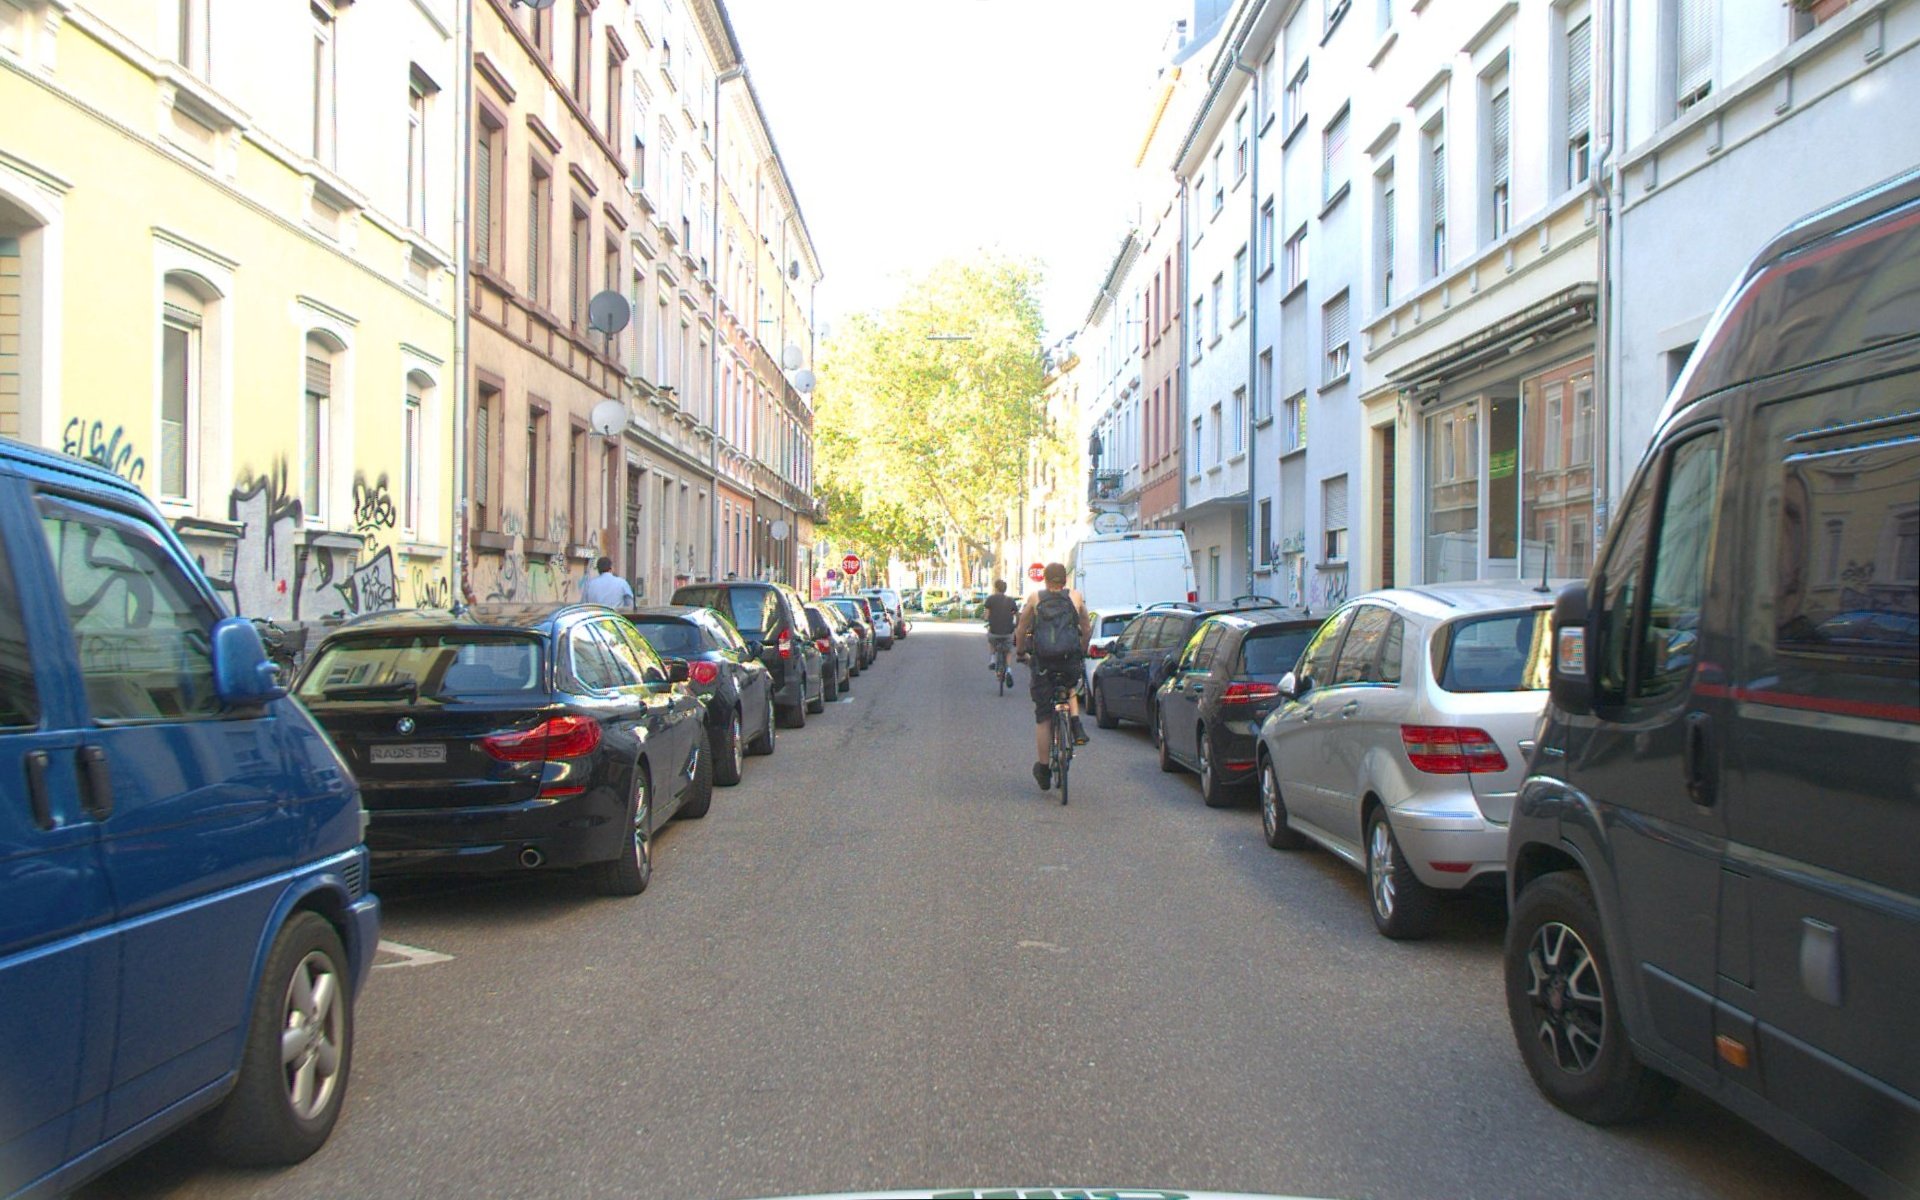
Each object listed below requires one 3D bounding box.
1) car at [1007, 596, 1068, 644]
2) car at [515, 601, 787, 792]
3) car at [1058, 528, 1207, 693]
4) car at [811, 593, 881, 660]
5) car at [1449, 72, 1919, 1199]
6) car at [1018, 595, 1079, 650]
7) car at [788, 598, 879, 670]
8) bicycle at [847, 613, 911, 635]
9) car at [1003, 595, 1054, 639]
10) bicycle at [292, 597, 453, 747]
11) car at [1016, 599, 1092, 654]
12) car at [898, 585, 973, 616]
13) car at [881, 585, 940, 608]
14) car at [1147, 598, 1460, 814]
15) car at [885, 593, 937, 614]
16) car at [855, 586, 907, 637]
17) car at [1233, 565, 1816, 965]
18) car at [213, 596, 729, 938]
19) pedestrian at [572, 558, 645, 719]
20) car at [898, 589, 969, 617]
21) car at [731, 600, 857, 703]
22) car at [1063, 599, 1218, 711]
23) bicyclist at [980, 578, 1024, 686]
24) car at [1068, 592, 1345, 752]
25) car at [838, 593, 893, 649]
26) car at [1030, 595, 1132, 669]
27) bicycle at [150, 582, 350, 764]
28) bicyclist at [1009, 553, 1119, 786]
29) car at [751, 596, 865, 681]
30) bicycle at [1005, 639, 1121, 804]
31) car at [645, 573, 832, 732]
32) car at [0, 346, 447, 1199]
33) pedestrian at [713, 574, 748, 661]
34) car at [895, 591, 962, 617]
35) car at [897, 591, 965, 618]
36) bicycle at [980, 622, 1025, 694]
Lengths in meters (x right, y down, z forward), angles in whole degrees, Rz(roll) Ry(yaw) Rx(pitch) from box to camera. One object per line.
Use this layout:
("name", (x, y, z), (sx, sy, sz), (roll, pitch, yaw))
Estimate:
("car", (2.490, 0.629, 53.997), (1.676, 1.496, 3.998), (0, 0, -2))
("car", (-2.601, 0.748, 14.806), (1.701, 1.452, 4.000), (0, 0, 0))
("car", (2.906, 0.151, 29.218), (2.159, 2.595, 6.037), (0, 0, 2))
("car", (-2.770, 0.623, 40.738), (1.572, 1.557, 3.377), (-1, 0, -2))
("car", (2.833, 0.254, 2.617), (2.131, 2.468, 6.308), (-1, 0, -1))
("car", (2.565, 0.629, 48.541), (1.559, 1.518, 3.875), (0, 0, 0))
("car", (-2.677, 0.697, 35.779), (1.671, 1.438, 4.301), (0, 0, 0))
("bicycle", (-3.423, 1.006, 69.872), (2.661, 0.908, 0.618), (0, 0, -3))
("car", (2.513, 0.595, 61.105), (1.619, 1.557, 3.573), (0, 0, -2))
("bicycle", (-5.461, 0.625, 15.540), (0.654, 1.267, 2.327), (3, 0, -1))
("car", (2.433, 0.660, 43.448), (1.624, 1.362, 3.998), (0, 0, -2))
("car", (-1.500, 0.033, 99.650), (4.381, 1.790, 1.864), (0, 0, -5))
("car", (-3.717, -0.253, 124.508), (4.381, 1.725, 1.864), (0, 0, -5))
("car", (2.694, 0.753, 13.937), (1.710, 1.511, 4.242), (0, 0, -1))
("car", (-4.172, 0.297, 140.432), (4.381, 1.725, 1.864), (0, 0, -5))
("car", (-2.837, 0.397, 60.314), (1.751, 1.767, 3.875), (0, 0, -1))
("car", (2.754, 0.689, 9.187), (1.659, 1.636, 4.374), (-2, 0, -1))
("car", (-2.510, 0.738, 9.745), (1.824, 1.465, 4.643), (0, 1, -2))
("pedestrian", (-4.155, 0.446, 19.595), (0.637, 1.849, 0.754), (2, 0, 0))
("car", (-1.677, 0.188, 104.771), (4.381, 1.725, 1.864), (0, 0, -5))
("car", (-2.520, 0.741, 25.745), (1.559, 1.465, 3.654), (0, 0, 0))
("car", (2.508, 0.720, 23.771), (1.690, 1.454, 3.831), (0, 0, -2))
("bicyclist", (0.666, 0.499, 26.334), (0.656, 1.687, 0.877), (0, 0, -1))
("car", (2.672, 0.716, 19.131), (1.778, 1.503, 4.598), (-3, 1, -10))
("car", (-2.754, 0.579, 48.113), (1.513, 1.578, 3.463), (0, 0, -3))
("car", (2.561, 0.653, 35.744), (1.696, 1.496, 4.019), (0, 0, -3))
("bicycle", (-5.435, 0.514, 12.810), (0.660, 1.293, 2.086), (0, 0, -1))
("bicyclist", (0.787, 0.515, 12.831), (0.725, 1.708, 1.116), (2, 0, -1))
("car", (-2.752, 0.671, 30.719), (1.639, 1.455, 3.889), (0, 0, 2))
("bicycle", (0.773, 0.902, 12.950), (0.725, 1.120, 2.042), (2, 0, -1))
("car", (-2.670, 0.592, 20.765), (1.764, 1.728, 4.000), (-2, 0, 0))
("car", (-2.587, 0.543, 3.051), (1.790, 1.925, 4.613), (-2, 0, 0))
("pedestrian", (-5.109, 0.378, 36.861), (0.598, 1.890, 0.754), (2, 0, -1))
("car", (-2.151, 0.241, 111.191), (4.381, 1.725, 1.864), (0, 0, -5))
("car", (-1.905, 0.314, 108.269), (4.381, 1.725, 1.864), (0, 0, -5))
("bicycle", (0.661, 0.906, 26.448), (0.650, 1.055, 1.958), (0, 0, 0))
